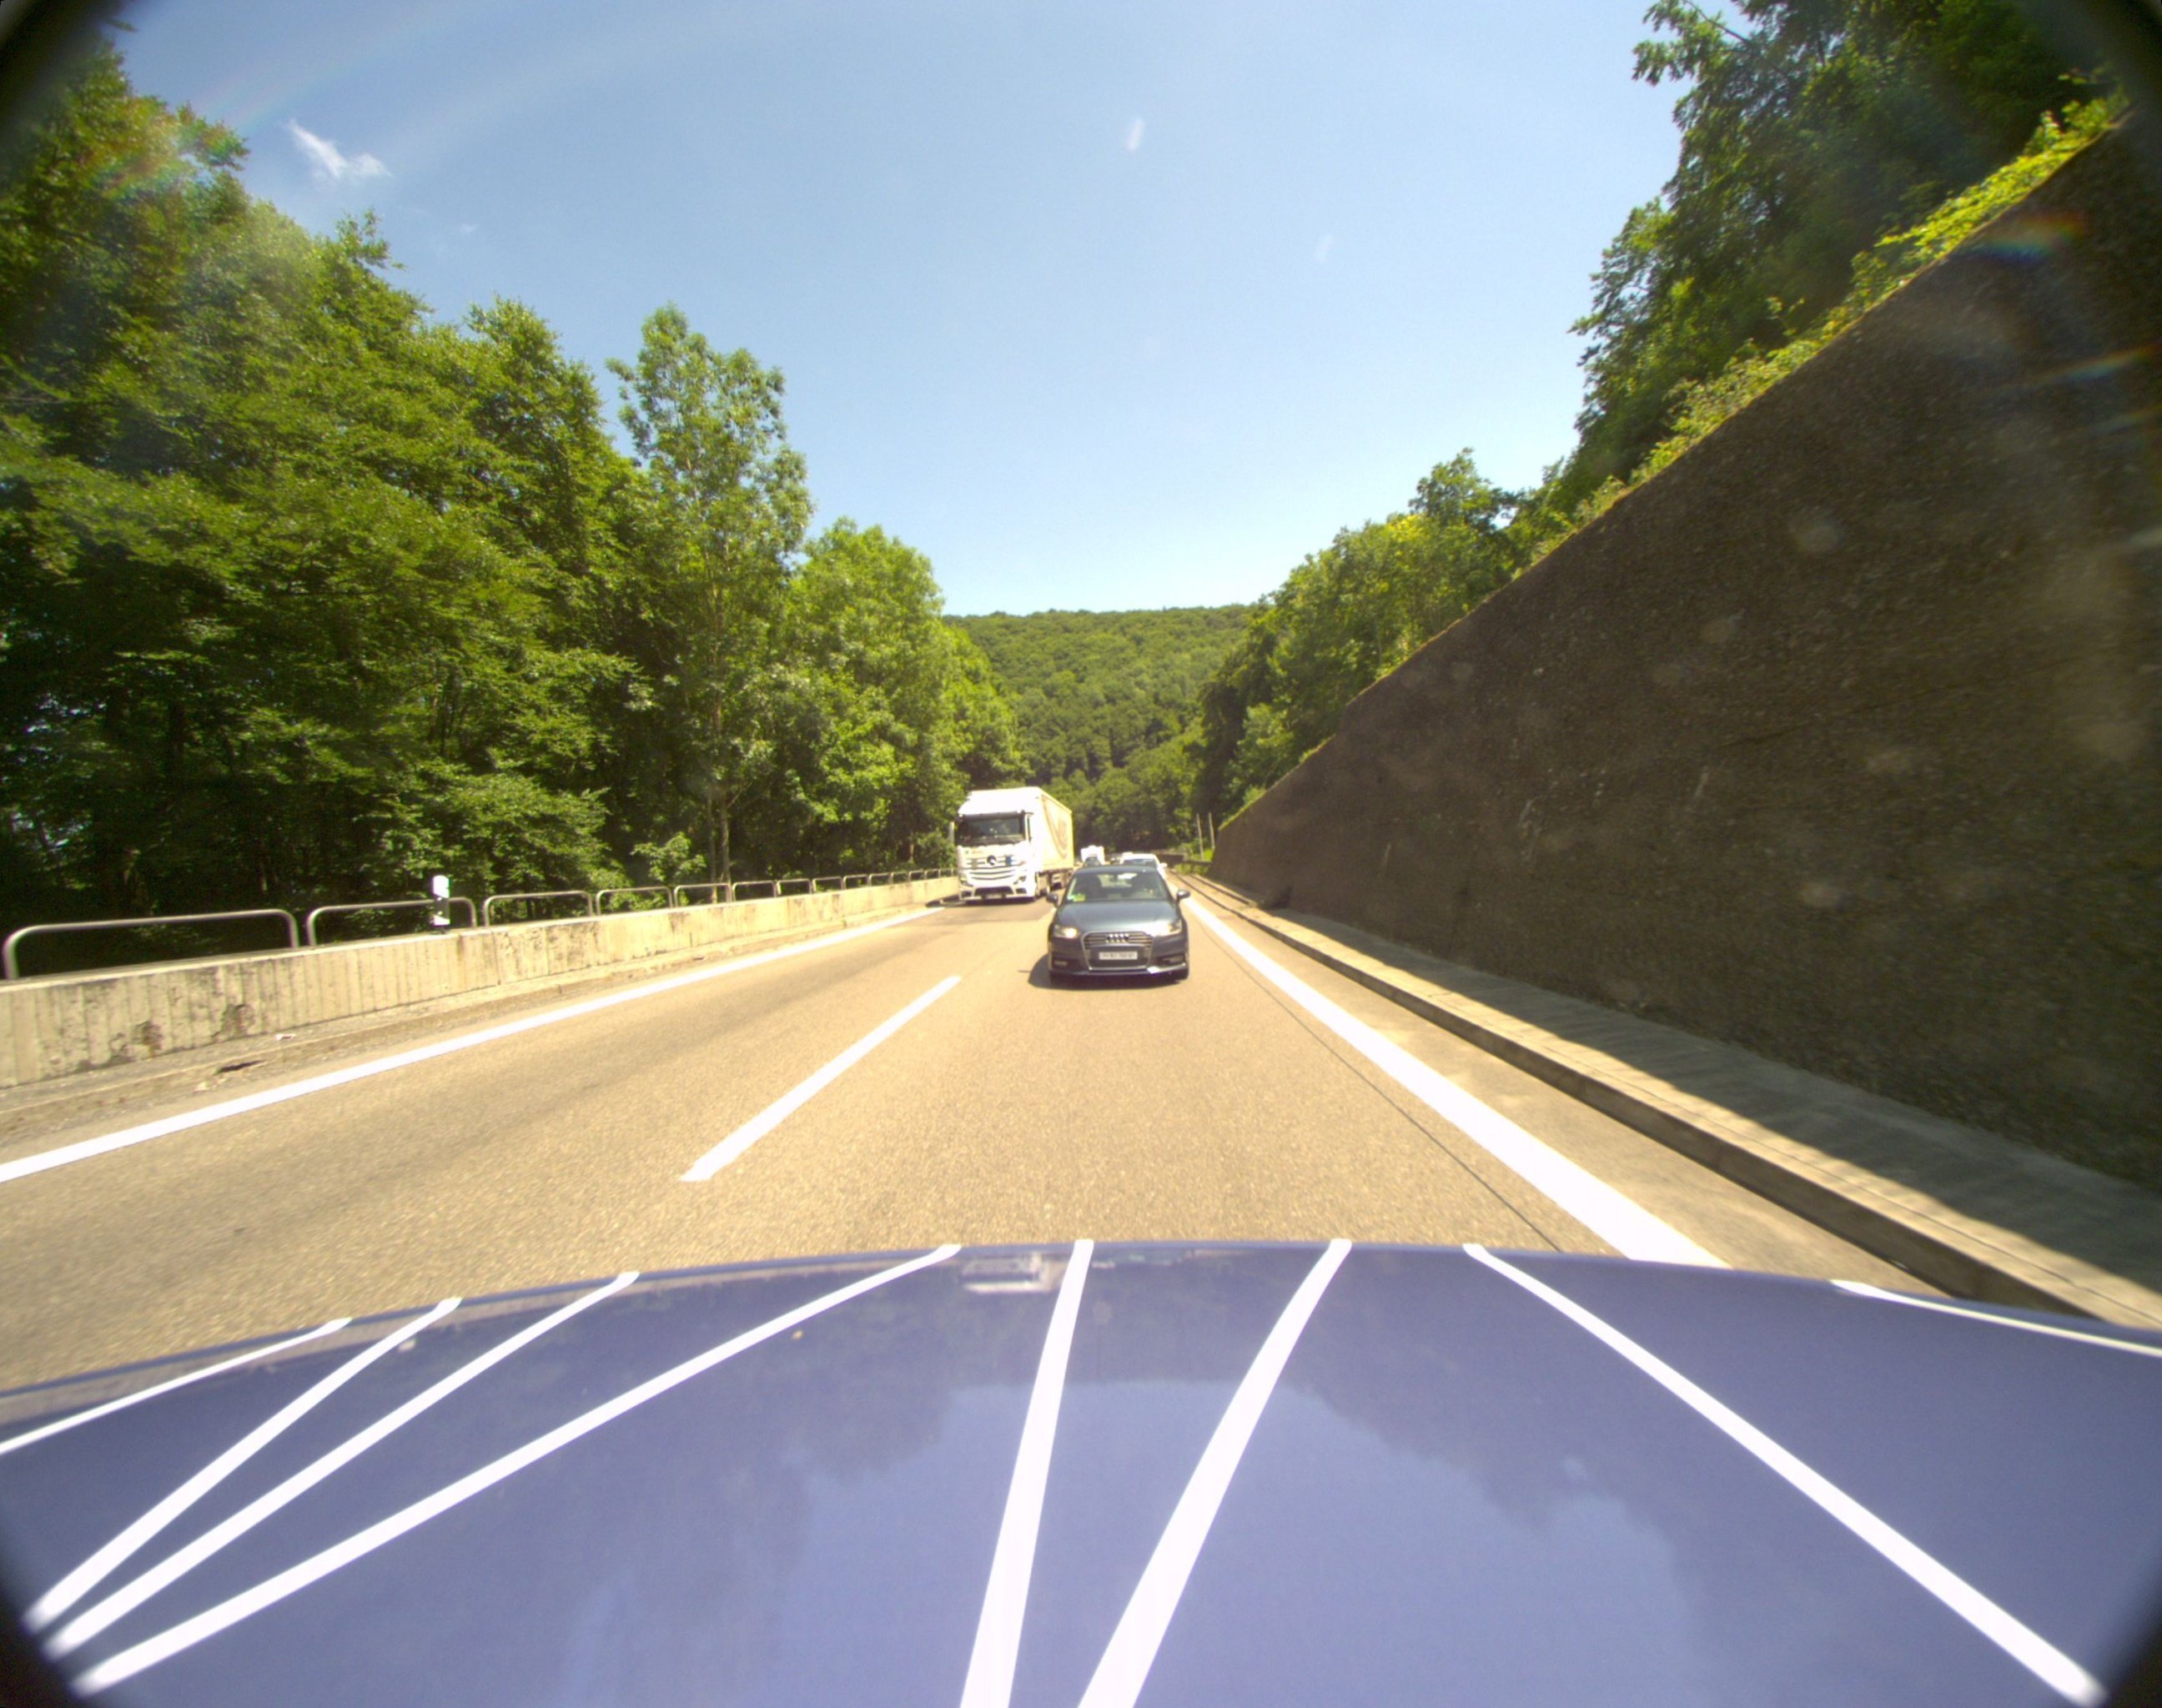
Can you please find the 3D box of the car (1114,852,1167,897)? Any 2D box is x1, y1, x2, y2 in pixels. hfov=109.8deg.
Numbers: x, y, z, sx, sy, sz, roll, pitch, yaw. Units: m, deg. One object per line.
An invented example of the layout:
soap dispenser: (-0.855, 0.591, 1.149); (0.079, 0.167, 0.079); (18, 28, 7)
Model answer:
car: (2.254, 0.696, 28.159); (1.754, 1.460, 3.984); (-2, 0, 6)

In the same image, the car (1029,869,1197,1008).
car: (0.466, 0.954, 10.248); (1.755, 1.350, 4.123); (-2, 0, 3)

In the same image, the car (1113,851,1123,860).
car: (6.359, 0.190, 129.304); (1.618, 1.487, 3.656); (-2, 0, 3)

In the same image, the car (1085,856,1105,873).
car: (1.400, 1.054, 77.843); (1.998, 1.652, 4.000); (-2, 0, 0)

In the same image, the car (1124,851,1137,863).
car: (6.714, 0.399, 102.996); (1.618, 1.487, 3.656); (-2, 0, 3)

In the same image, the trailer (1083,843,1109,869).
trailer: (1.801, 0.209, 86.419); (2.527, 2.694, 9.506); (-1, 0, 3)

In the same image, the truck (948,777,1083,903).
truck: (-2.158, -0.578, 33.413); (2.967, 4.109, 16.711); (1, 1, 5)
